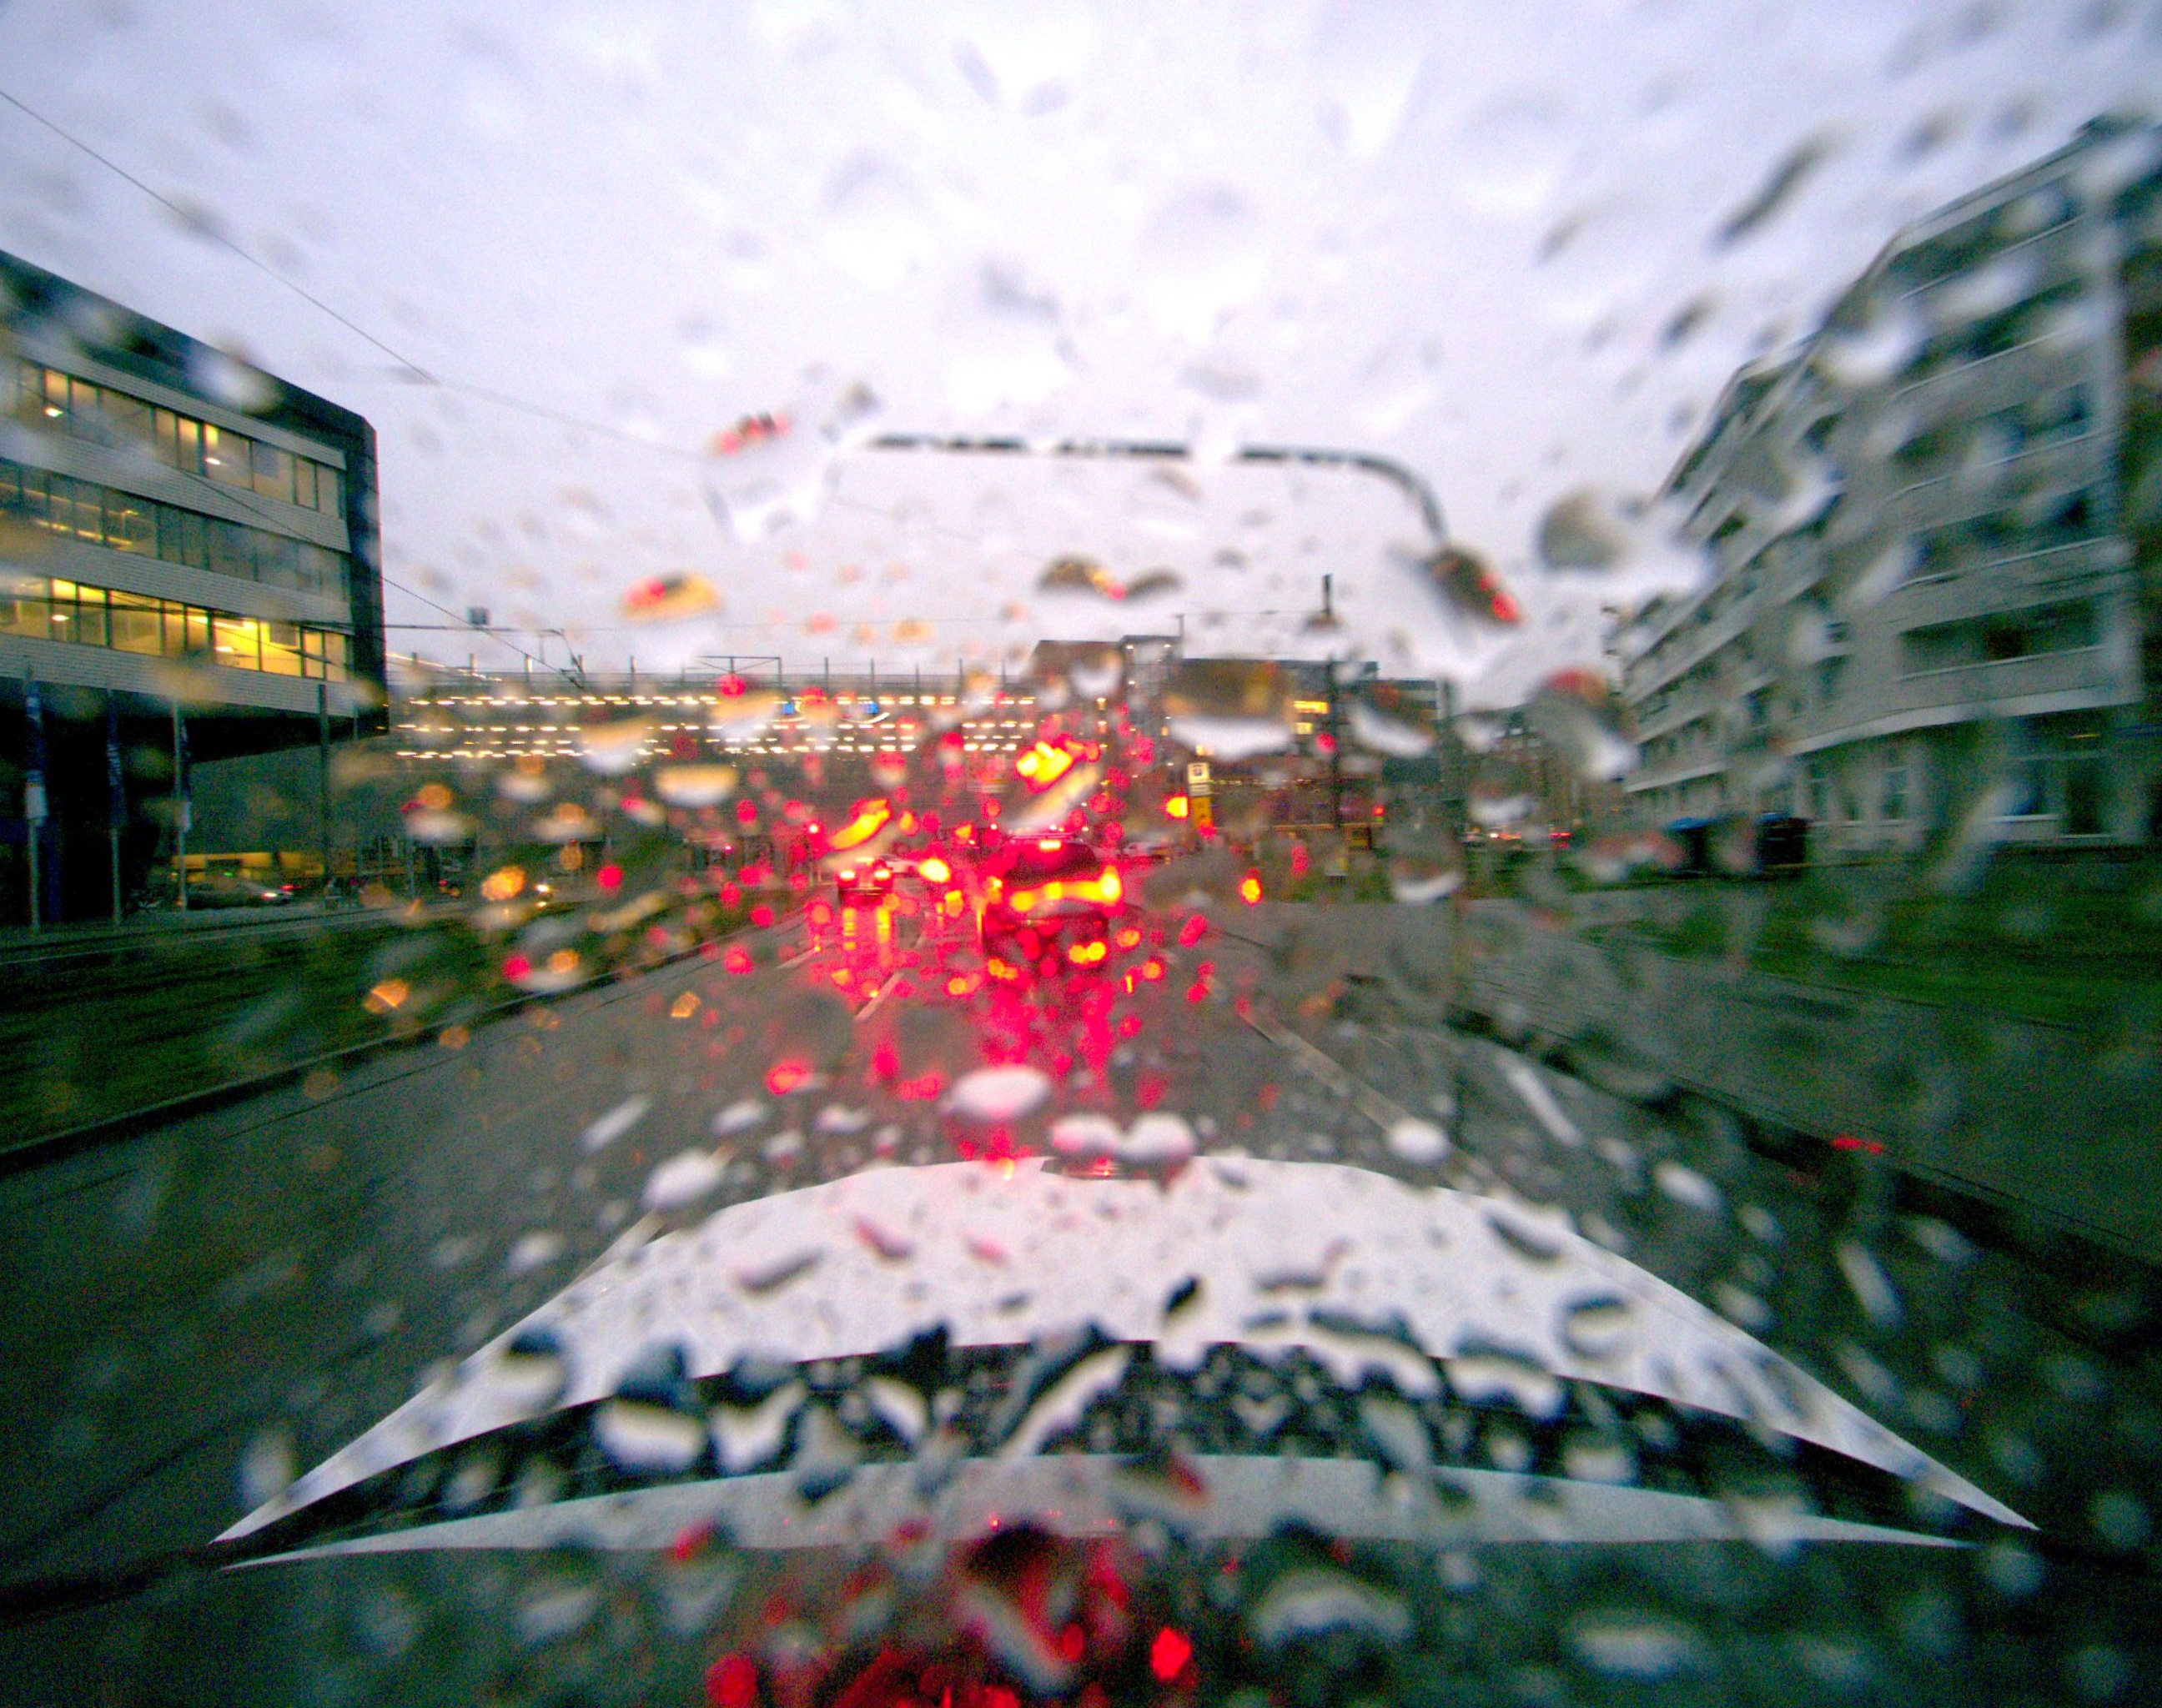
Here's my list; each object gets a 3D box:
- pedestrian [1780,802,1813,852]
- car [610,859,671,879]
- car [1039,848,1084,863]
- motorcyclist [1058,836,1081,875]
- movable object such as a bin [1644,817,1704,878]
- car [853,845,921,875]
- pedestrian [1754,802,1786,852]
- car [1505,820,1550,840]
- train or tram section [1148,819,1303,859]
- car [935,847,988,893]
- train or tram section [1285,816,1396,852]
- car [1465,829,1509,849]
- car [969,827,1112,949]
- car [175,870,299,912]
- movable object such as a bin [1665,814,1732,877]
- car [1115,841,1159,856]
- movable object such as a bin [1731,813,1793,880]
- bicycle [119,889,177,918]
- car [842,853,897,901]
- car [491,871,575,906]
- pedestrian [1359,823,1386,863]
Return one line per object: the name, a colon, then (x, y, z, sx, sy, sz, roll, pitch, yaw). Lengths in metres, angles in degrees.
pedestrian: (24.668, -0.914, 28.087, 0.670, 1.714, 0.632, 0, 0, 19)
car: (-43.935, 1.493, 81.311, 5.089, 1.962, 1.880, 0, 0, -17)
car: (-2.057, 0.156, 86.852, 4.431, 1.390, 1.789, -3, 0, -18)
motorcyclist: (-0.468, 0.058, 33.233, 0.866, 1.534, 1.107, -2, 0, -3)
movable object such as a bin: (15.311, -0.171, 21.072, 1.018, 1.495, 1.337, -2, 0, 26)
car: (-13.288, 0.409, 55.725, 4.366, 2.013, 1.988, 0, 0, -18)
pedestrian: (23.928, -0.913, 28.288, 0.669, 1.714, 0.609, 0, 0, 19)
car: (48.767, -2.584, 89.000, 4.961, 2.013, 1.982, 0, 0, -28)
train or tram section: (14.335, -1.514, 79.357, 16.692, 3.260, 2.317, -3, 0, -26)
car: (-4.854, 0.623, 32.729, 1.639, 1.697, 3.652, -1, 0, -15)
train or tram section: (27.454, -2.154, 85.809, 13.026, 3.260, 2.317, -3, 0, -26)
car: (42.309, -1.574, 84.878, 4.001, 2.013, 1.986, 0, 0, -21)
car: (-0.858, 0.493, 13.869, 1.737, 1.738, 4.228, 0, 0, -13)
car: (-44.638, 1.913, 43.195, 4.003, 1.874, 1.985, -4, 1, -22)
movable object such as a bin: (14.902, -0.206, 19.701, 1.004, 1.416, 1.231, -4, 0, 26)
car: (6.102, -0.623, 88.954, 4.429, 1.595, 1.790, -1, 0, -17)
movable object such as a bin: (15.836, -0.173, 18.957, 1.024, 1.490, 1.047, 0, 0, 35)
bicycle: (-38.684, 2.031, 33.774, 0.553, 1.090, 1.609, -2, 0, -3)
car: (-7.747, 0.809, 29.852, 1.756, 1.574, 3.980, -2, 0, -15)
car: (-26.098, 1.600, 38.998, 1.823, 1.435, 4.634, 0, 0, -14)
pedestrian: (14.203, -0.547, 39.725, 1.162, 1.924, 0.901, 0, 0, 12)
